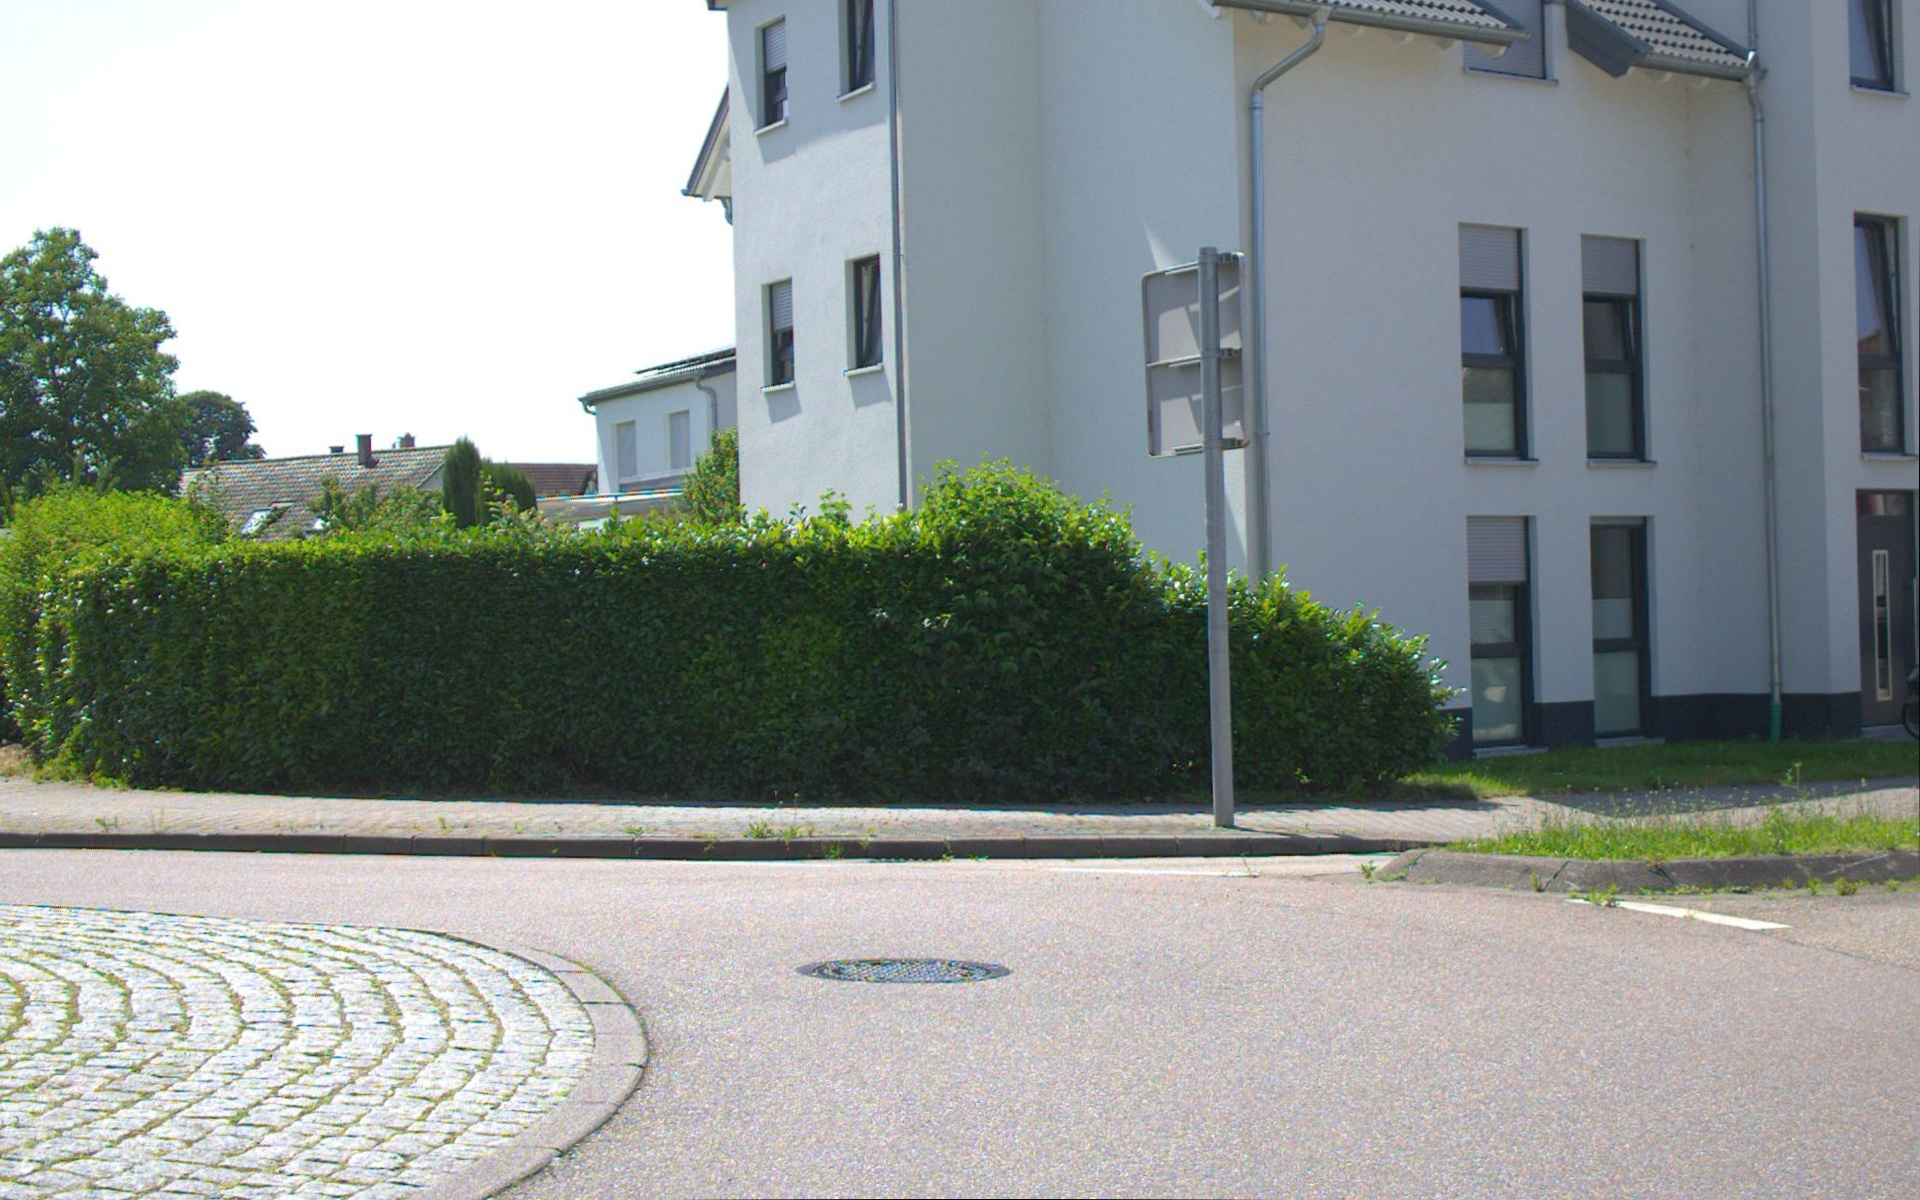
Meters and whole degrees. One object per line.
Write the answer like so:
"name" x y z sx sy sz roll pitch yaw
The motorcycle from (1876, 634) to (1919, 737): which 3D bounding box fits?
"motorcycle" 10.061 0.832 33.272 0.670 1.010 2.368 1 -1 -39
